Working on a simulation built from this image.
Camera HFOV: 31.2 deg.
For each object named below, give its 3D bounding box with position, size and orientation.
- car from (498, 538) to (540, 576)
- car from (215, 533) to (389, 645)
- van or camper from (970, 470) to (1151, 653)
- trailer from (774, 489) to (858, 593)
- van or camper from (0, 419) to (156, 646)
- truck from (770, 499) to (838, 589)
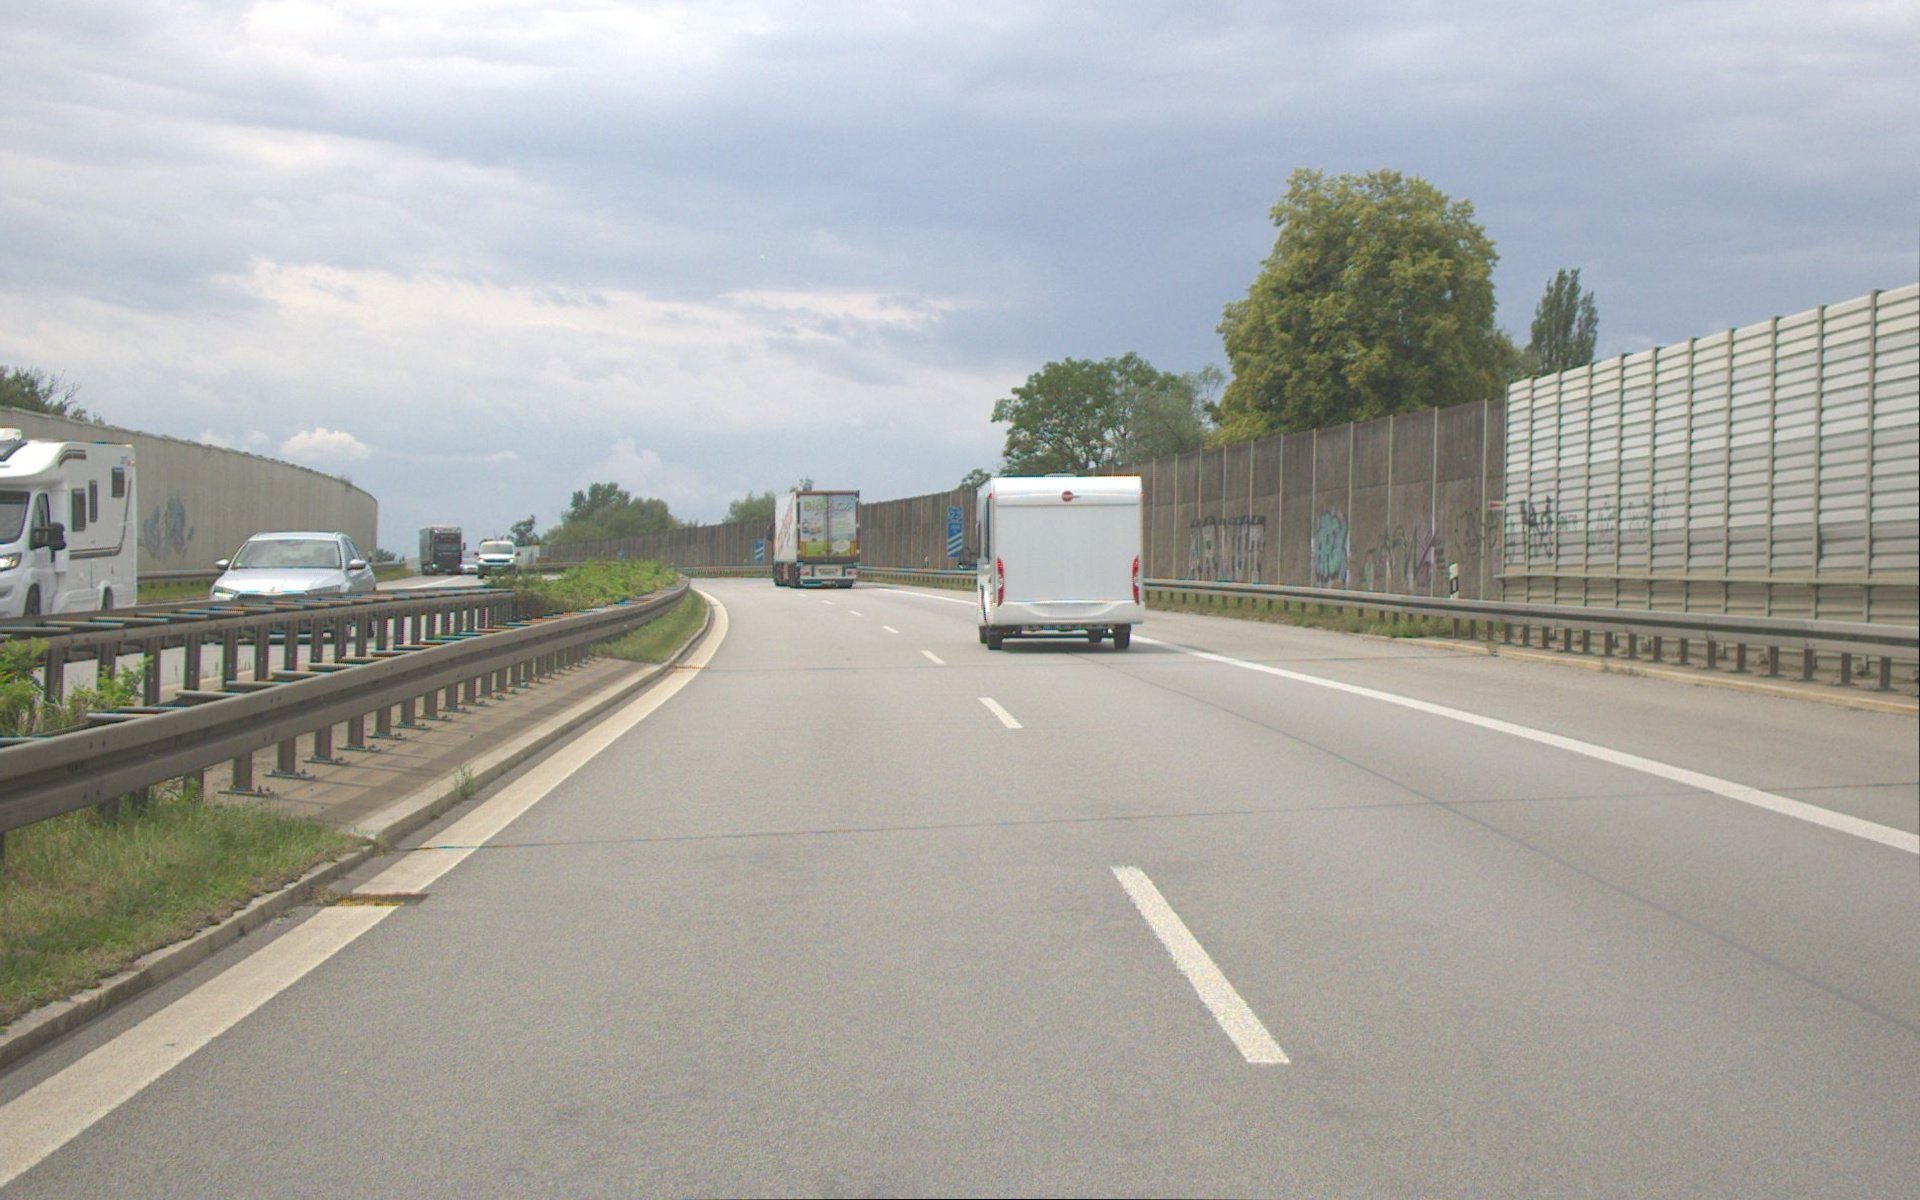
[{"bbox_3d":[-20.704,-2.025,161.477,1.741,1.738,4.628,0,1,-4],"label":"car"},{"bbox_3d":[-8.823,-0.167,46.412,1.692,1.415,4.648,-1,1,-3],"label":"car"},{"bbox_3d":[1.498,-0.607,54.619,2.429,2.687,7.226,0,1,-2],"label":"van or camper"},{"bbox_3d":[-6.234,-2.421,147.214,2.792,4.160,14.105,0,0,-6],"label":"trailer"},{"bbox_3d":[-13.075,-0.894,47.128,2.466,2.860,7.769,0,1,-1],"label":"van or camper"},{"bbox_3d":[-7.009,-2.473,153.825,2.755,3.946,5.678,0,0,-6],"label":"truck"}]
